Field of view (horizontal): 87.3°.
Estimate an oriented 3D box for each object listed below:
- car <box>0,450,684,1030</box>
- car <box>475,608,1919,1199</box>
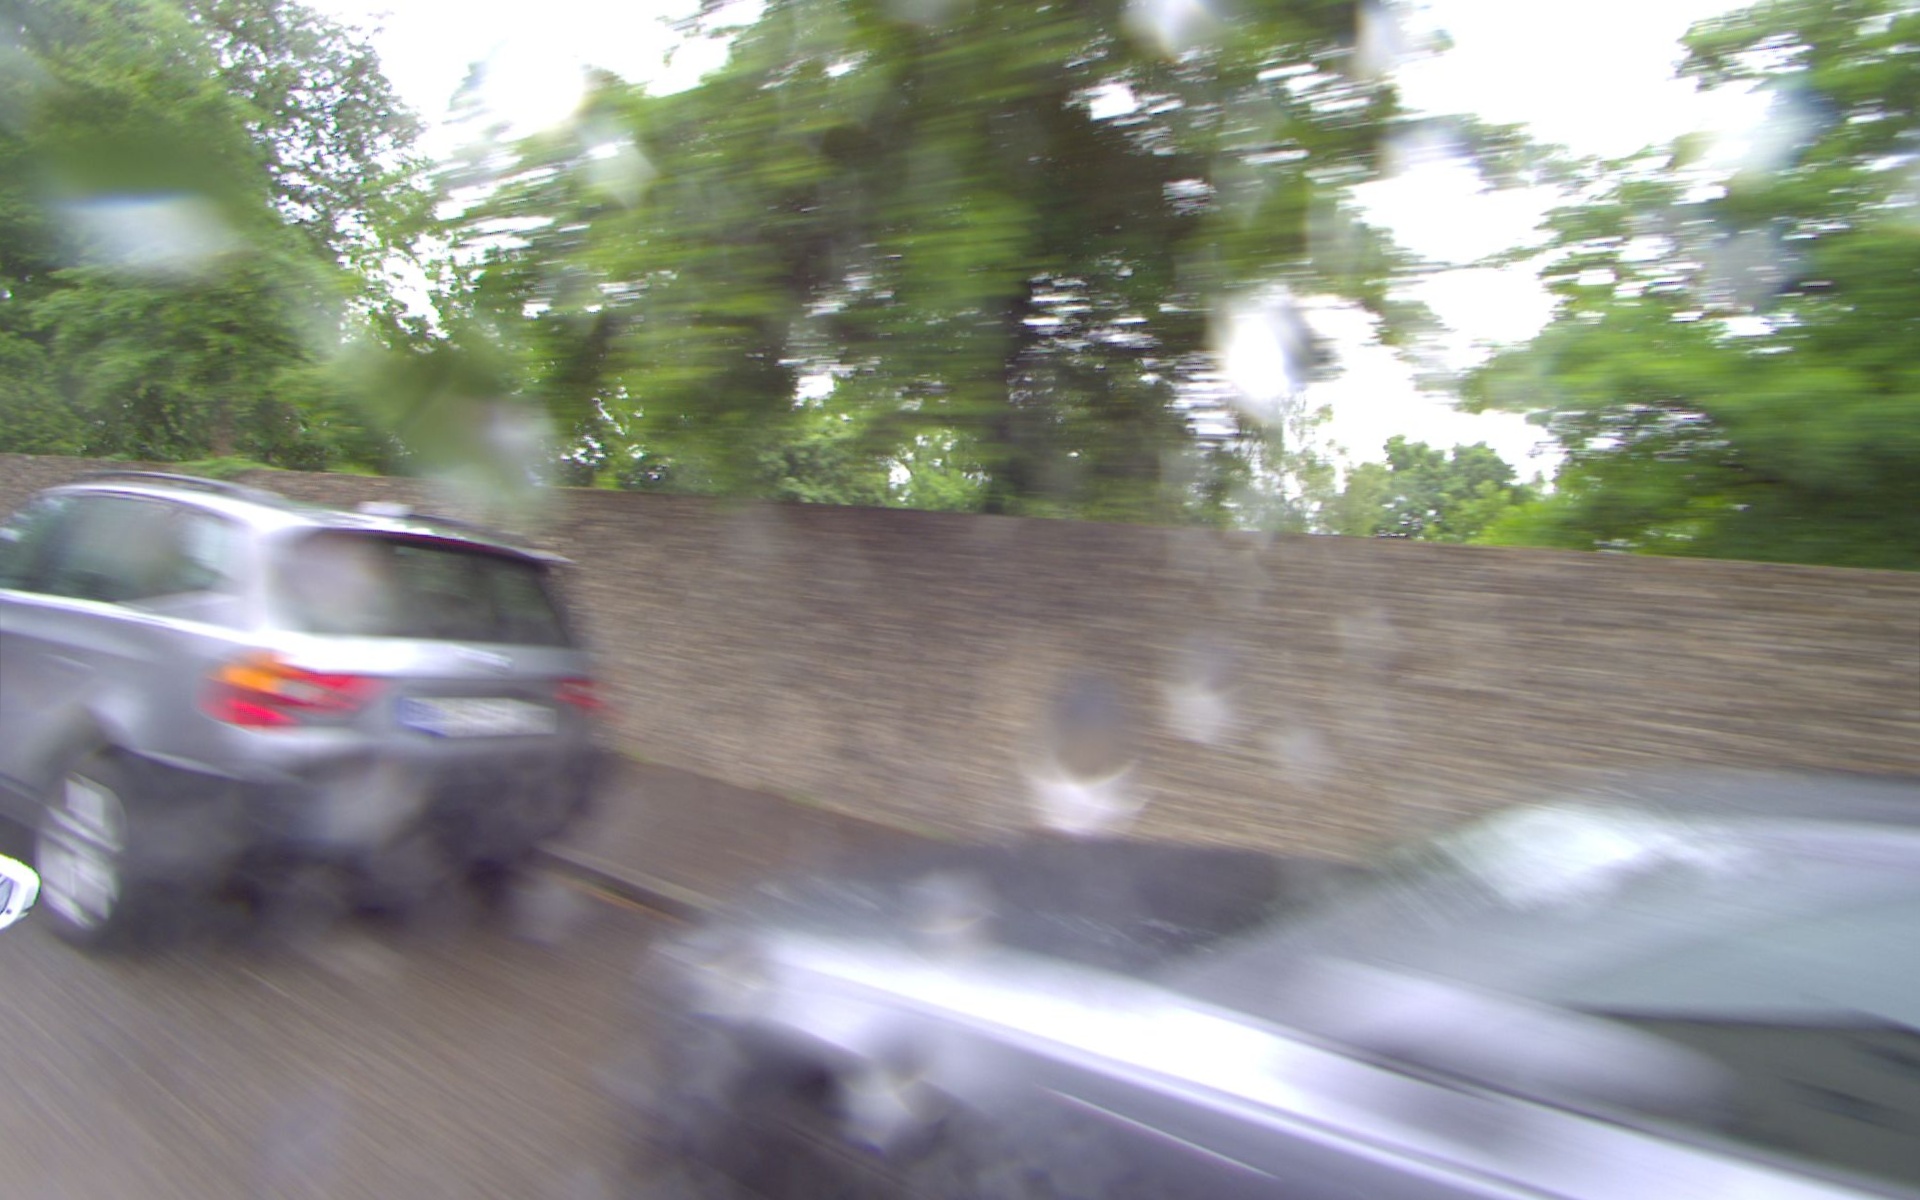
[{"bbox_3d":[-3.659,0.313,4.819,4.421,1.687,1.746,6,-2,29],"label":"car"},{"bbox_3d":[1.477,1.030,1.730,4.616,1.464,1.769,6,-2,29],"label":"car"}]
